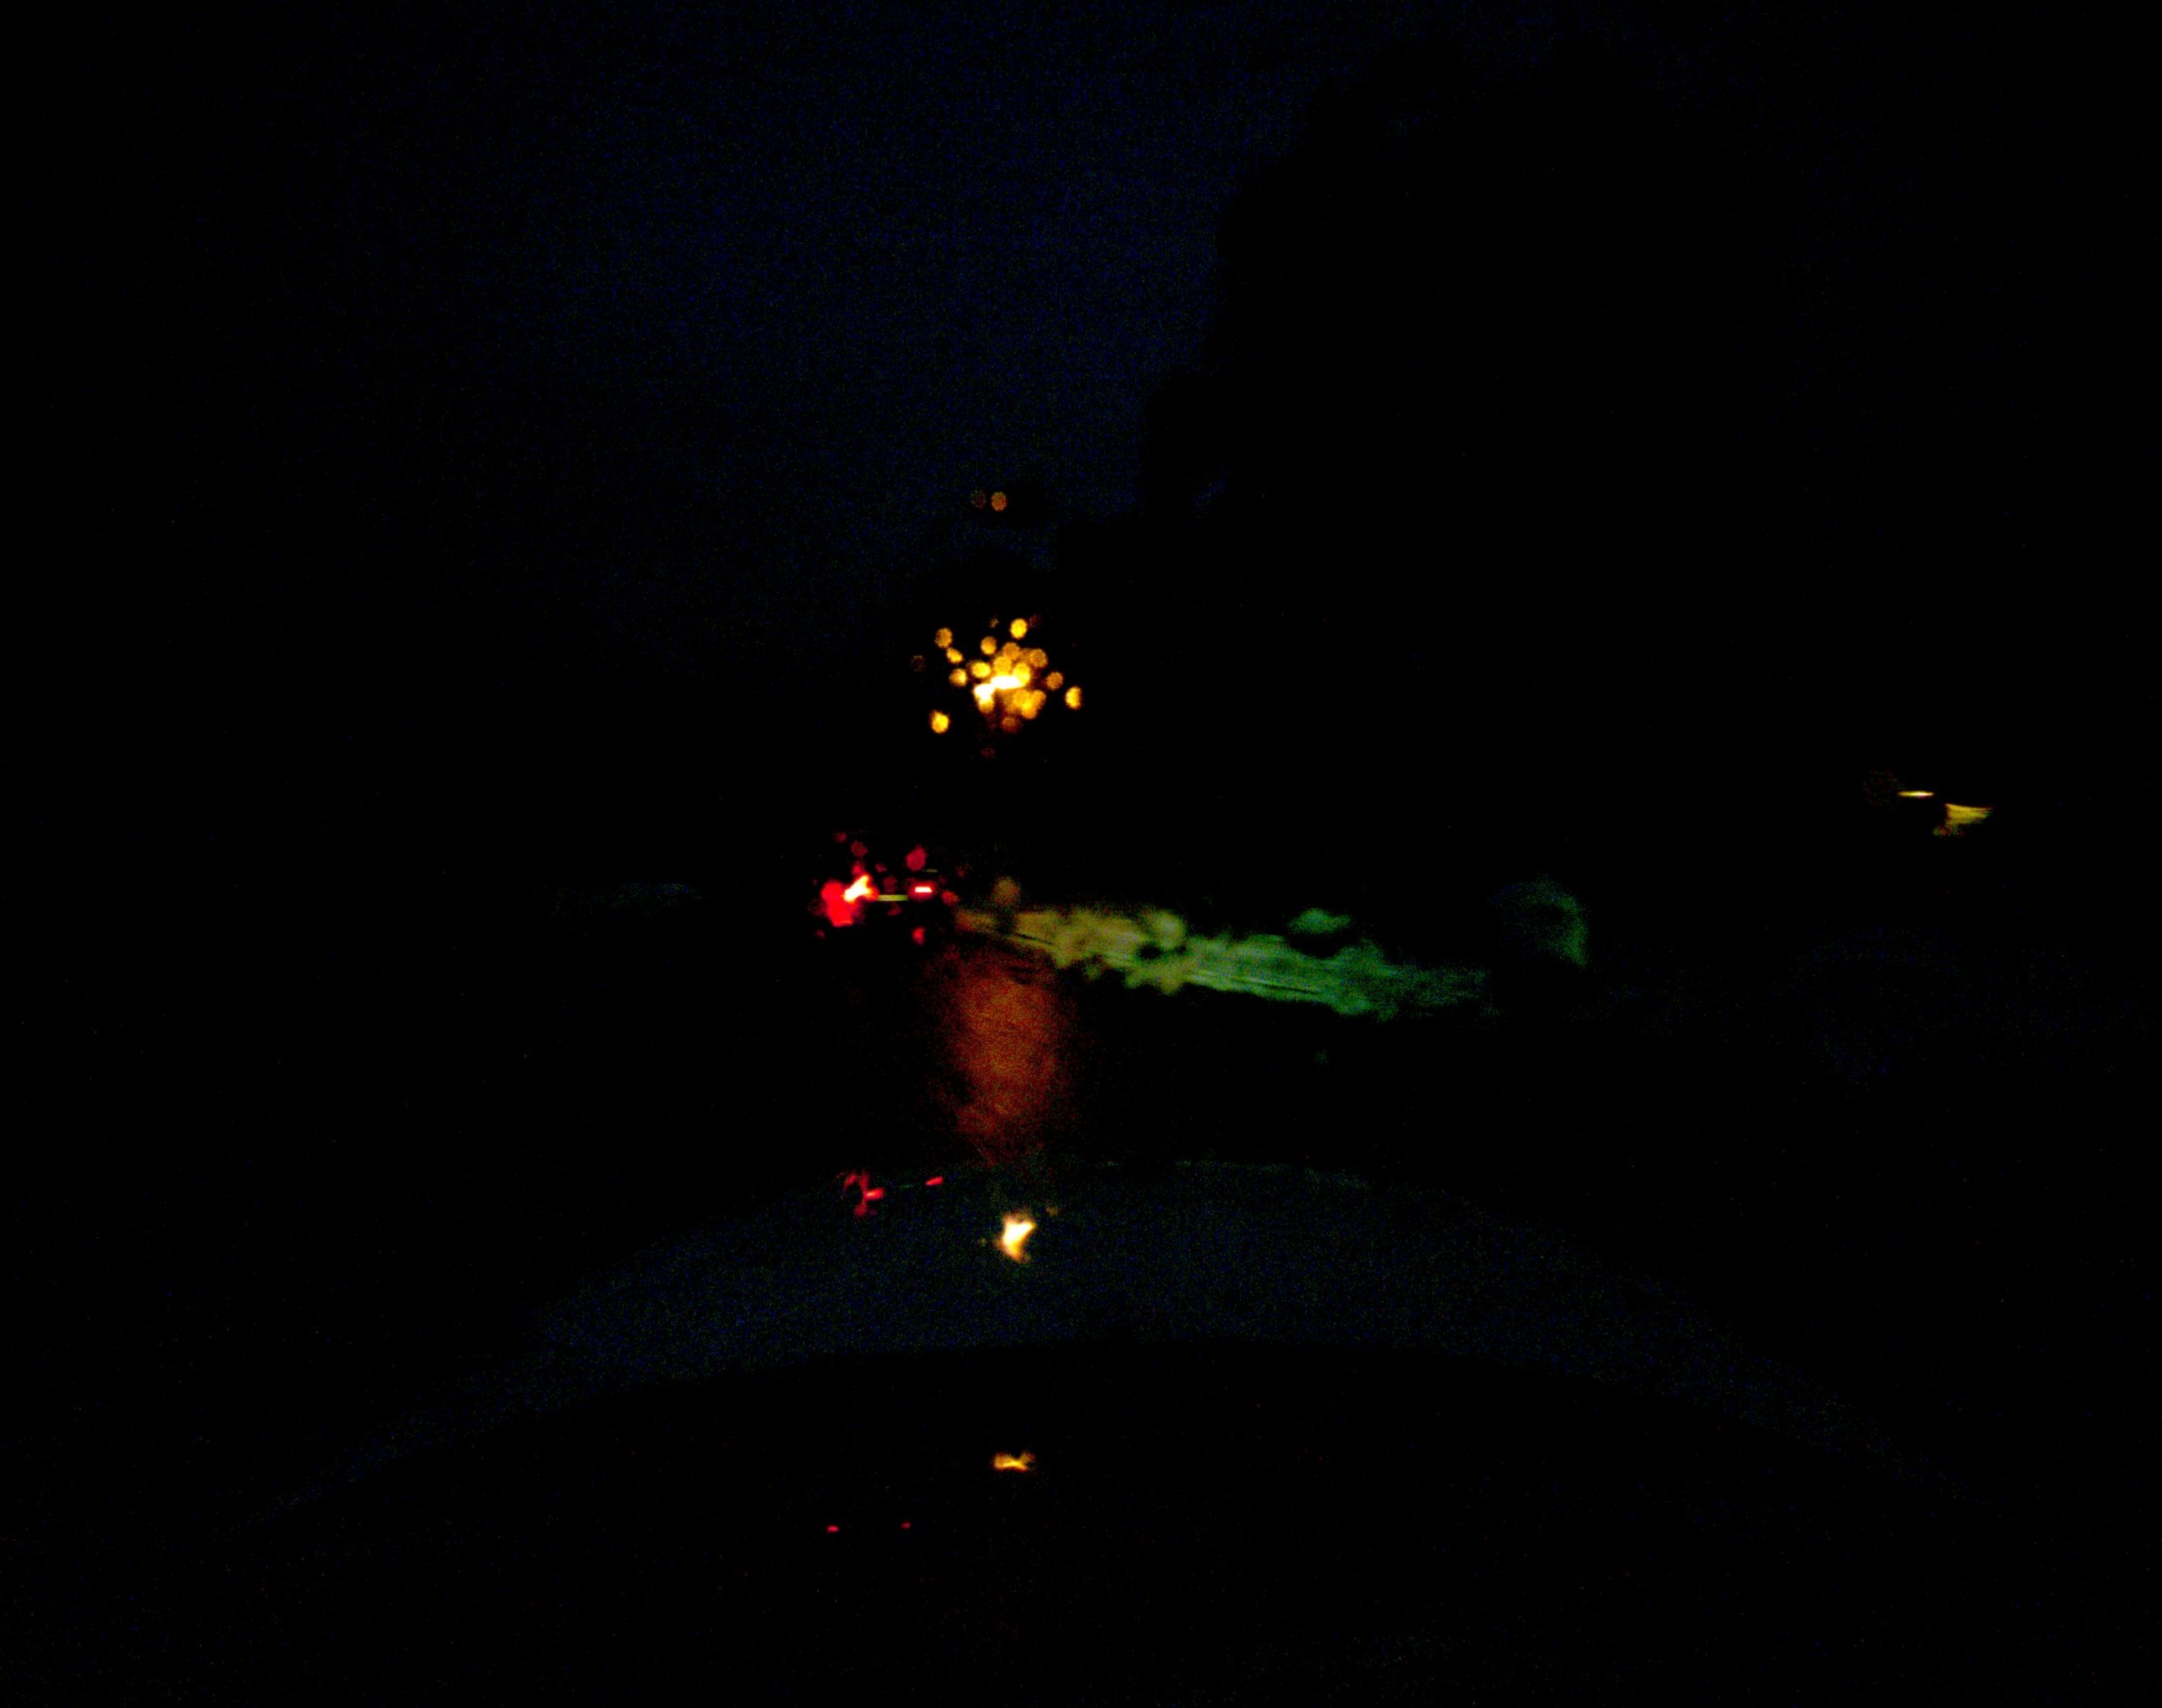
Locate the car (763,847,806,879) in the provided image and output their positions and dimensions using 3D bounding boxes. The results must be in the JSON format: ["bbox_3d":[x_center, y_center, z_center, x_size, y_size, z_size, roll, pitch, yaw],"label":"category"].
[{"bbox_3d":[-16.012,0.455,44.152,1.720,1.534,3.502,2,1,-13],"label":"car"}]

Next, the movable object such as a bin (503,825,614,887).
[{"bbox_3d":[-16.072,0.062,25.125,2.351,1.648,1.444,6,0,6],"label":"movable object such as a bin"}]

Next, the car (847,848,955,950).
[{"bbox_3d":[-3.782,0.797,16.668,1.827,1.796,3.556,0,1,-18],"label":"car"}]

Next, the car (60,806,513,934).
[{"bbox_3d":[-13.731,0.356,14.622,5.274,2.014,2.201,2,-3,-18],"label":"car"}]
